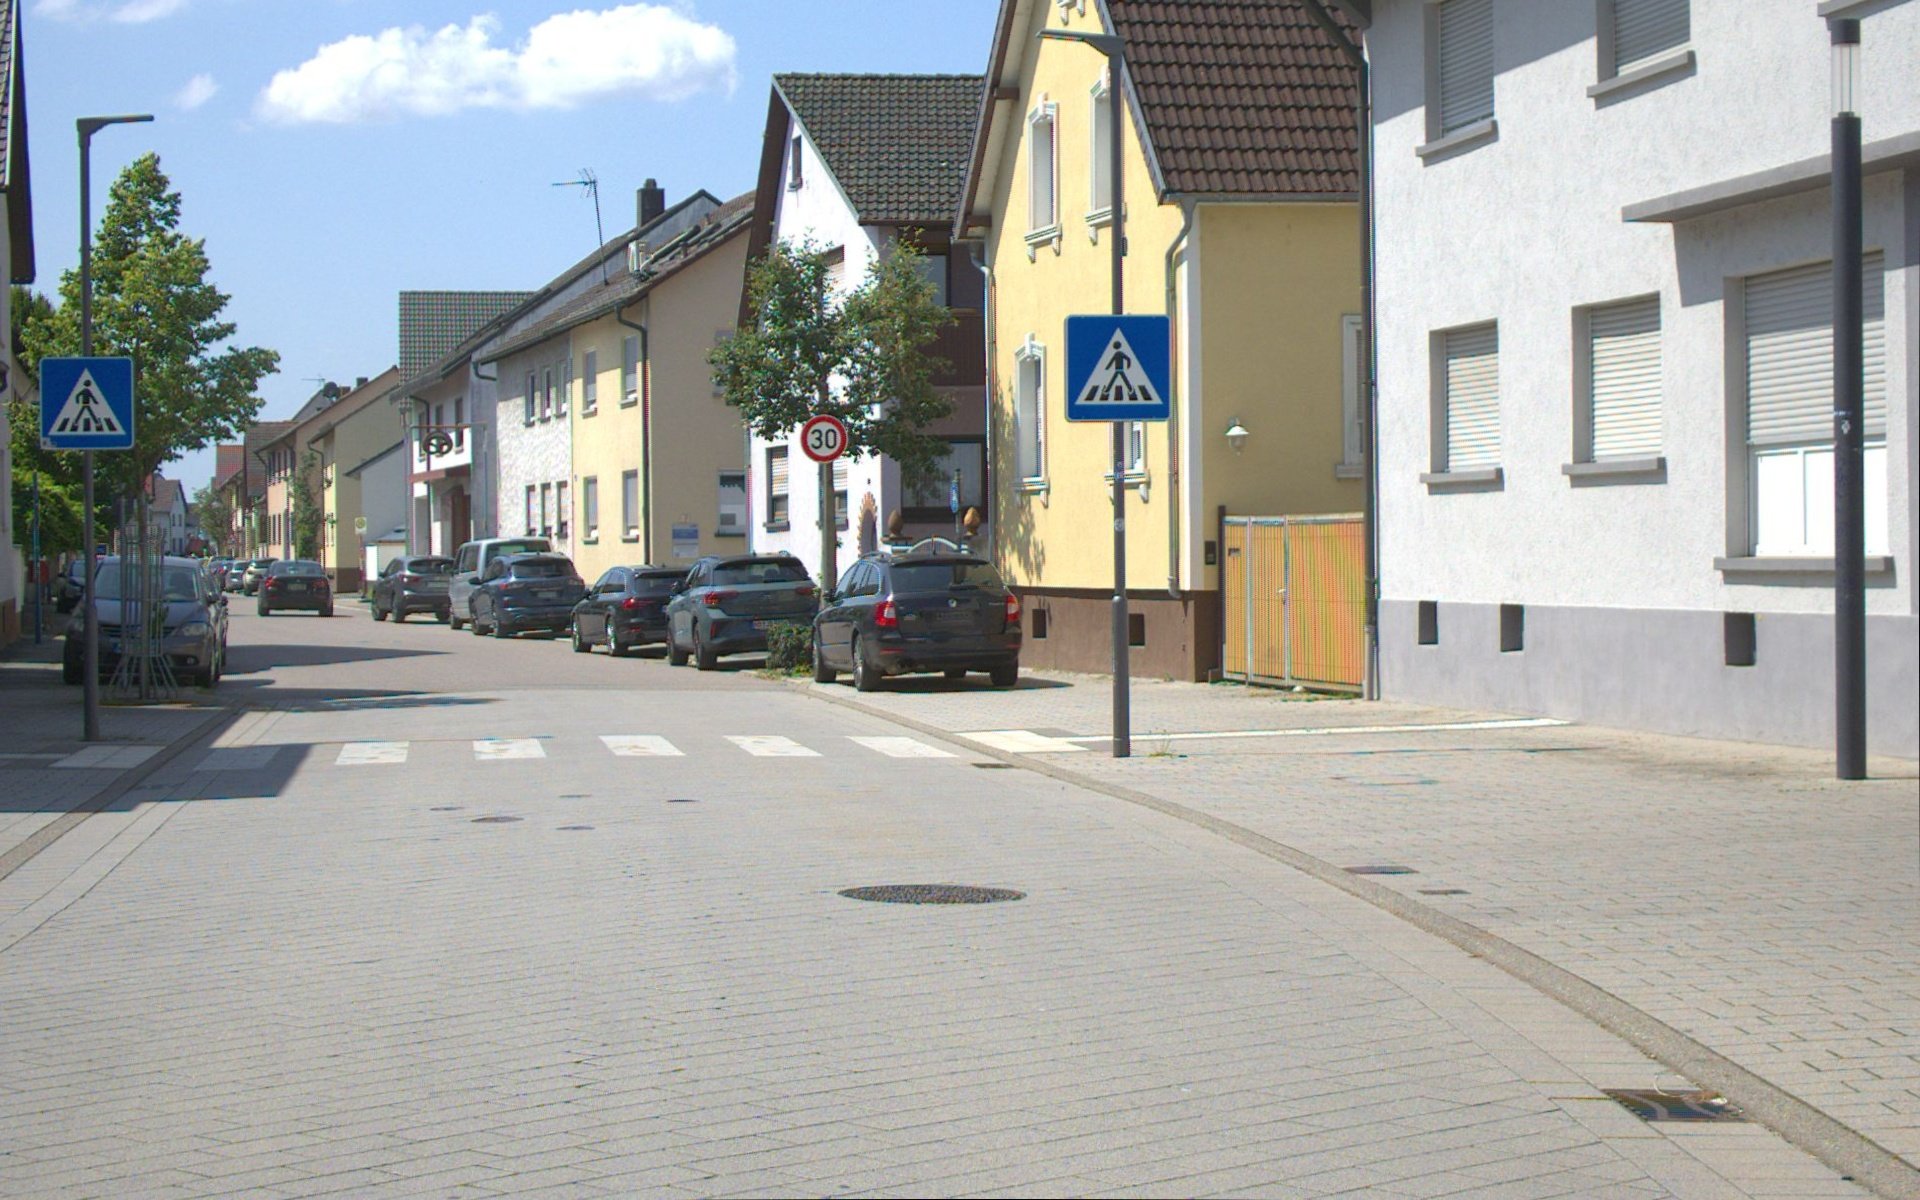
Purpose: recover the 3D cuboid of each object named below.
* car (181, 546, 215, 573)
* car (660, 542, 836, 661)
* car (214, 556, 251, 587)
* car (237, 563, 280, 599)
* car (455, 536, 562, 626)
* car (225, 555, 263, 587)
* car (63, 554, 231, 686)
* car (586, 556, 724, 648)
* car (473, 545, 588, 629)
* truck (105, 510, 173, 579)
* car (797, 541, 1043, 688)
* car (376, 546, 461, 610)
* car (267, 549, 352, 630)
[{"bbox_3d":[-42.668,-2.266,192.538,1.687,1.447,3.794,-1,1,-15],"label":"car"},{"bbox_3d":[-2.969,-0.011,47.531,1.846,1.557,3.695,-1,1,-13],"label":"car"},{"bbox_3d":[-35.865,-1.421,169.470,1.687,1.447,3.794,-1,1,-13],"label":"car"},{"bbox_3d":[-29.986,-0.817,146.945,1.687,1.447,3.794,-1,1,-13],"label":"car"},{"bbox_3d":[-9.731,-0.434,73.942,1.906,1.865,4.001,-1,1,-13],"label":"car"},{"bbox_3d":[-33.370,-1.340,160.181,1.687,1.447,3.794,-1,1,-13],"label":"car"},{"bbox_3d":[-9.954,0.210,42.301,1.746,1.525,4.001,1,1,-10],"label":"car"},{"bbox_3d":[-4.917,0.005,55.122,1.710,1.382,3.707,-1,1,-13],"label":"car"},{"bbox_3d":[-8.593,-0.282,68.501,1.877,1.586,4.001,-1,1,-13],"label":"car"},{"bbox_3d":[-48.776,-3.306,204.020,3.563,3.940,8.584,-1,1,-15],"label":"truck"},{"bbox_3d":[-0.512,0.133,38.278,1.828,1.466,4.277,-3,1,-13],"label":"car"},{"bbox_3d":[-13.045,-0.550,82.691,1.753,1.487,4.001,-1,1,-13],"label":"car"},{"bbox_3d":[-17.049,-0.306,89.987,1.993,2.051,4.375,-1,1,-13],"label":"car"}]
